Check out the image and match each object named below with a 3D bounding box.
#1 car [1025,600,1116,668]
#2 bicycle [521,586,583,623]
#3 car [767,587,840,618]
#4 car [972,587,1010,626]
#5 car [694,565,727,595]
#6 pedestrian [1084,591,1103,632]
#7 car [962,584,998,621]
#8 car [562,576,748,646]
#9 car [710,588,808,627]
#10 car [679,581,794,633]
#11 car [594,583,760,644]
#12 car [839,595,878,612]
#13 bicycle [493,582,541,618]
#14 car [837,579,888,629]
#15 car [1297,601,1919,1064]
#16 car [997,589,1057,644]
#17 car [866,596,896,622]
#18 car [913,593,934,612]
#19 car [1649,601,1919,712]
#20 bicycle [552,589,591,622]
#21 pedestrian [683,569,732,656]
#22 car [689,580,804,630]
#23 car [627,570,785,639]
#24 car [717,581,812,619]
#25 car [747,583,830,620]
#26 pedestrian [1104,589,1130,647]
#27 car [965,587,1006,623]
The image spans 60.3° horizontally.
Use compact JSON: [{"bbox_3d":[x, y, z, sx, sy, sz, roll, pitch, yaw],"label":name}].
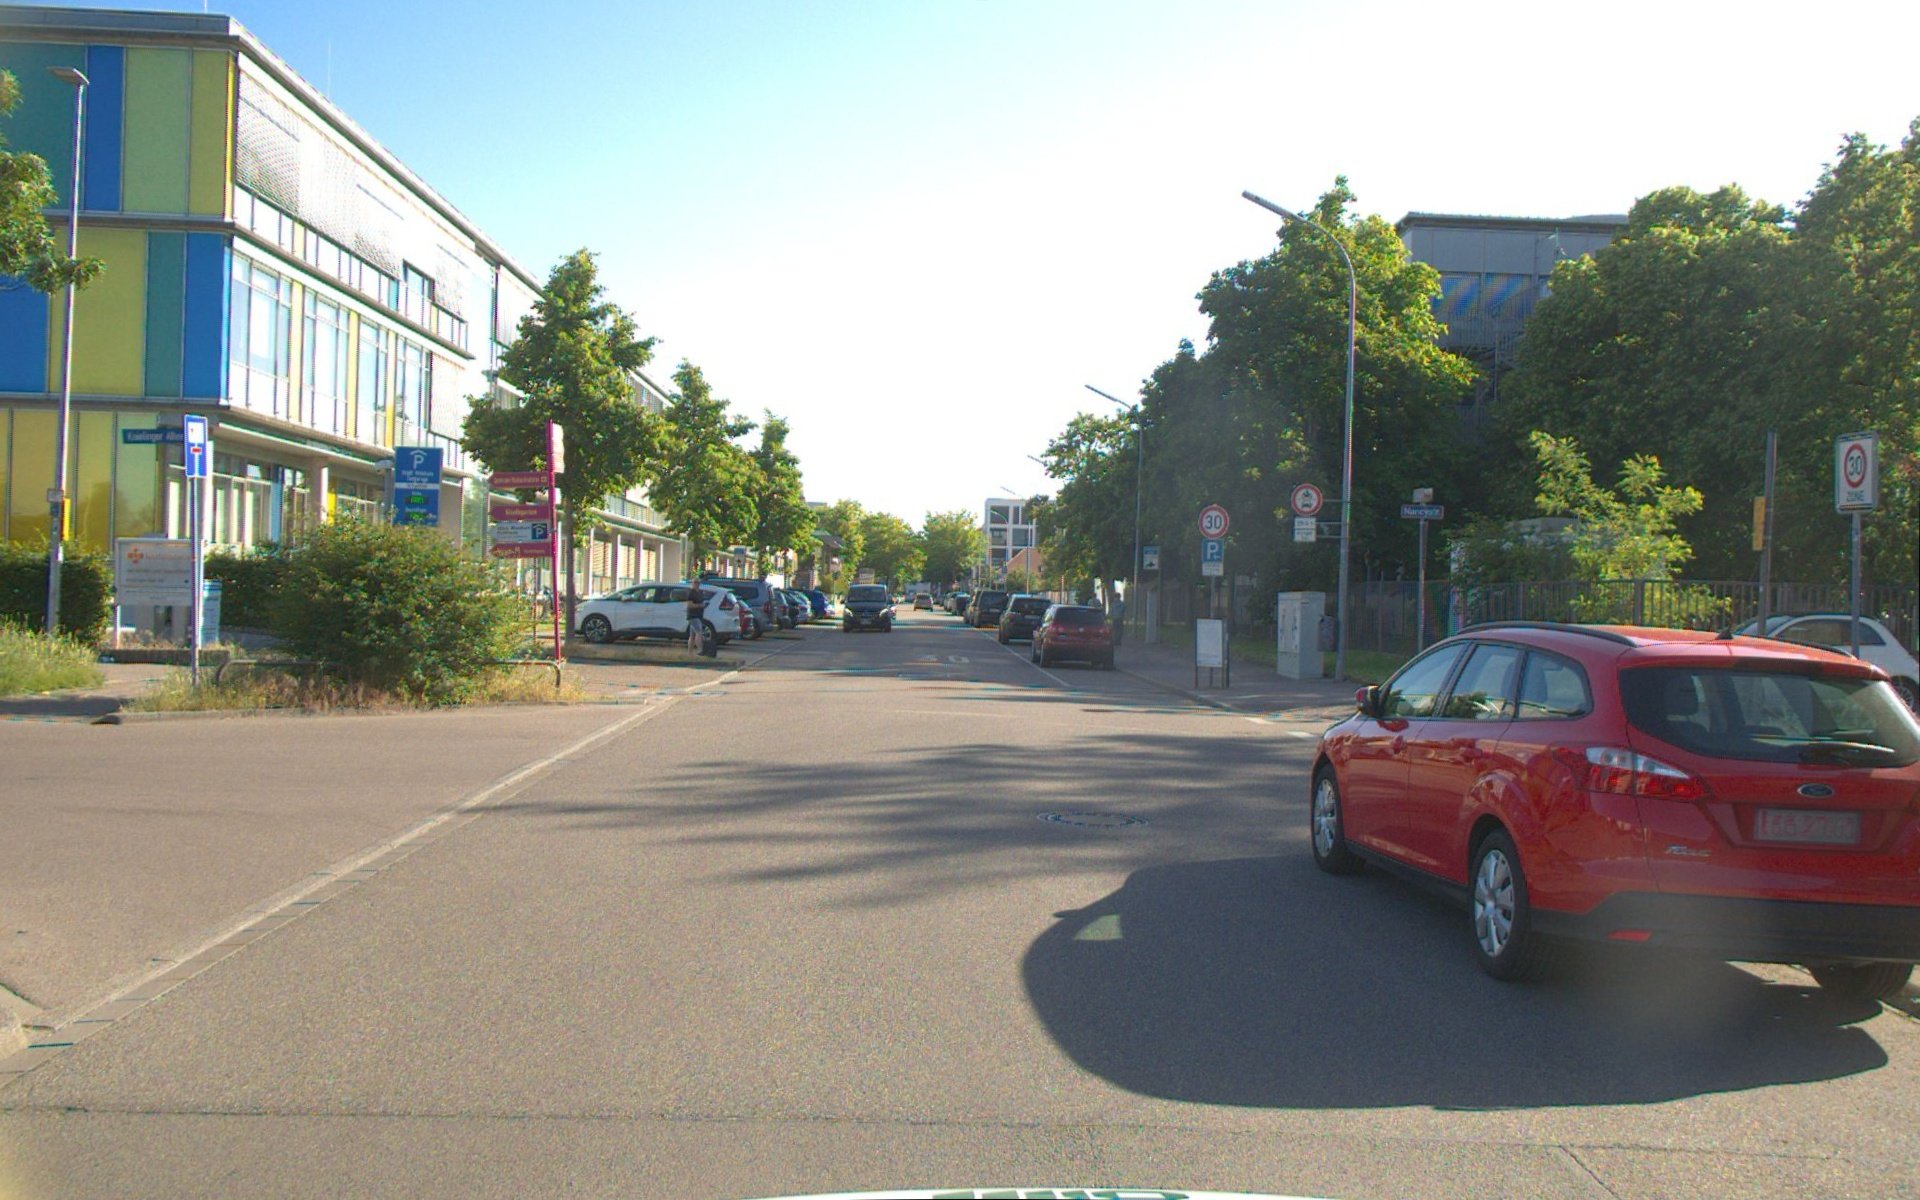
[{"bbox_3d":[2.654,0.784,40.519,1.685,1.480,4.650,3,0,-2],"label":"car"},{"bbox_3d":[-14.021,0.158,56.946,0.851,1.173,2.373,3,-1,19],"label":"bicycle"},{"bbox_3d":[-8.497,0.134,90.034,3.909,1.579,1.998,2,0,-5],"label":"car"},{"bbox_3d":[1.514,0.310,81.492,1.698,1.862,3.904,1,0,-1],"label":"car"},{"bbox_3d":[-18.602,-1.498,123.519,1.953,2.049,3.998,2,-1,-2],"label":"car"},{"bbox_3d":[5.572,0.465,69.181,0.684,1.690,0.751,-1,0,-2],"label":"pedestrian"},{"bbox_3d":[1.109,0.124,93.970,1.837,2.013,3.999,0,0,-2],"label":"car"},{"bbox_3d":[-8.063,0.293,43.974,4.516,1.680,1.868,2,0,1],"label":"car"},{"bbox_3d":[-8.252,0.317,68.119,3.910,1.382,1.741,3,0,-6],"label":"car"},{"bbox_3d":[-7.980,0.244,59.323,3.910,1.635,1.870,3,0,-6],"label":"car"},{"bbox_3d":[-7.940,0.375,46.680,4.344,1.527,1.827,2,0,-2],"label":"car"},{"bbox_3d":[-10.328,0.343,168.634,3.906,1.546,1.999,2,-1,-2],"label":"car"},{"bbox_3d":[-15.379,0.001,57.486,0.851,1.173,1.994,3,-1,8],"label":"bicycle"},{"bbox_3d":[-3.938,0.137,67.571,1.916,1.900,5.253,2,0,-2],"label":"car"},{"bbox_3d":[3.086,0.831,7.974,1.782,1.526,4.450,3,0,-2],"label":"car"},{"bbox_3d":[2.248,0.526,56.550,1.775,1.695,4.592,3,1,-1],"label":"car"},{"bbox_3d":[-4.569,0.524,95.836,1.669,1.476,4.085,0,0,-2],"label":"car"},{"bbox_3d":[-3.154,0.232,141.832,1.708,1.570,3.999,2,0,-2],"label":"car"},{"bbox_3d":[12.286,0.812,24.506,3.474,1.512,1.600,1,0,-1],"label":"car"},{"bbox_3d":[-14.238,0.185,60.731,0.874,1.131,1.890,3,1,2],"label":"bicycle"},{"bbox_3d":[-5.610,0.270,36.774,0.840,1.874,0.825,3,0,0],"label":"pedestrian"},{"bbox_3d":[-7.991,0.197,62.278,4.164,1.640,2.046,3,0,-6],"label":"car"},{"bbox_3d":[-7.999,0.132,52.327,4.647,1.897,1.827,3,0,-2],"label":"car"},{"bbox_3d":[-8.835,-0.011,75.054,4.132,1.487,1.870,3,0,-6],"label":"car"},{"bbox_3d":[-8.805,0.072,85.065,4.132,1.631,1.870,3,0,-6],"label":"car"},{"bbox_3d":[4.954,0.553,52.118,0.703,1.789,0.884,-1,0,-1],"label":"pedestrian"},{"bbox_3d":[1.332,0.249,87.729,1.953,1.854,4.197,0,0,-2],"label":"car"}]
